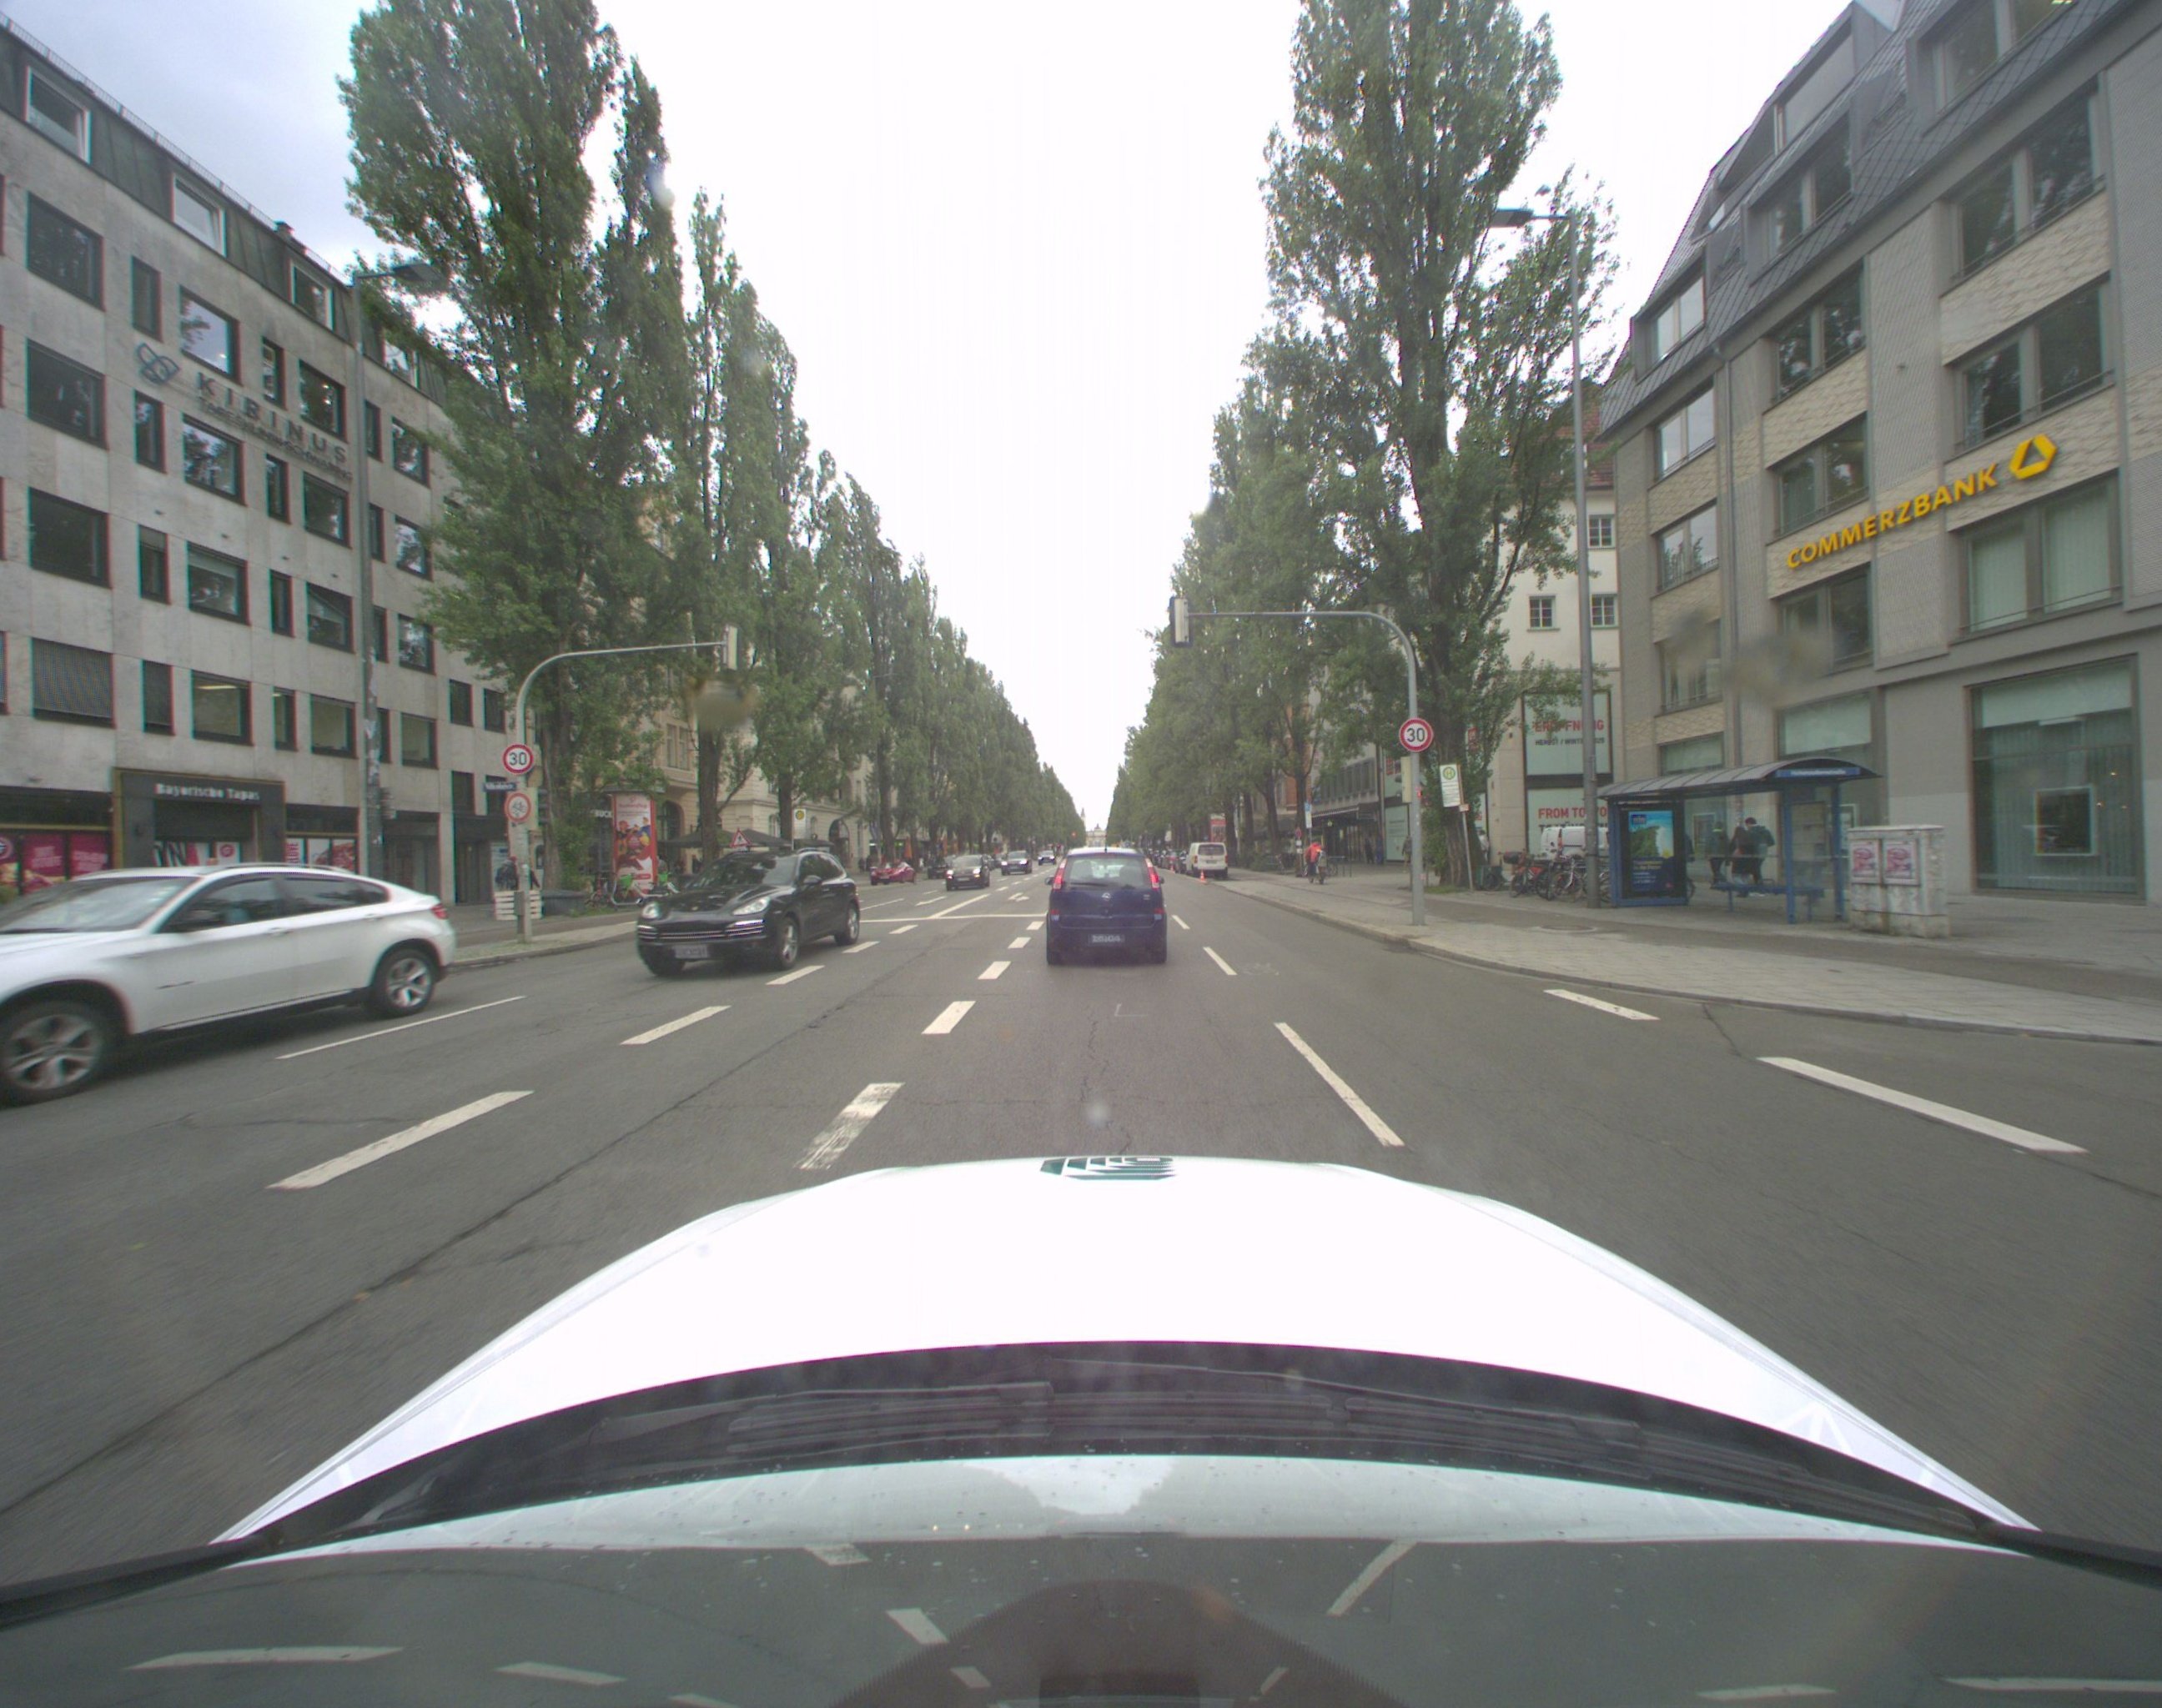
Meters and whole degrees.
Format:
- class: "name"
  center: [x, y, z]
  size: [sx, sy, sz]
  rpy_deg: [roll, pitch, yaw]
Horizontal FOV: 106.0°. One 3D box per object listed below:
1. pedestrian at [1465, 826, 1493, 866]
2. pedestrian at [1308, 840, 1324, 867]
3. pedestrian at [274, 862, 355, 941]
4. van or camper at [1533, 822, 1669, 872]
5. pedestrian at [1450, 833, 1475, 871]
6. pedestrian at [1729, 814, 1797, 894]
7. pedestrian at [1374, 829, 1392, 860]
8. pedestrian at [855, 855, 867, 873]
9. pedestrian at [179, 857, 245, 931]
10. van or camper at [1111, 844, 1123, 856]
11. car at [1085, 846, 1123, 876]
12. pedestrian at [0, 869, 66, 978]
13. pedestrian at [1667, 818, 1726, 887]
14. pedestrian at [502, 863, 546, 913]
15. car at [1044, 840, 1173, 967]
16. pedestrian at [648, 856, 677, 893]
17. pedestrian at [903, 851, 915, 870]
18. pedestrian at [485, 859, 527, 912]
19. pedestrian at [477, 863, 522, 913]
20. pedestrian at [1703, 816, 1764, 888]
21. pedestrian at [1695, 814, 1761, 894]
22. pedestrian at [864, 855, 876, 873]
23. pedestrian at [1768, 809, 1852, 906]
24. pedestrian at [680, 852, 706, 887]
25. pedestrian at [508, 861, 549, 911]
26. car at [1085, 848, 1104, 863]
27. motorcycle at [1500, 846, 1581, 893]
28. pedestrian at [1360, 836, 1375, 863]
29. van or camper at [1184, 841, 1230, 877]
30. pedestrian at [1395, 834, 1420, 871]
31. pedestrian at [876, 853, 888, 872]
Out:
- class: "pedestrian"
  center: [17.534, -0.359, 35.908]
  size: [0.747, 1.717, 0.963]
  rpy_deg: [-2, 0, 1]
- class: "pedestrian"
  center: [16.536, -0.036, 57.382]
  size: [0.823, 1.841, 1.100]
  rpy_deg: [-2, 0, 2]
- class: "pedestrian"
  center: [-16.377, 0.994, 17.426]
  size: [0.775, 1.618, 0.935]
  rpy_deg: [-2, 0, 1]
- class: "van or camper"
  center: [20.351, -0.267, 32.010]
  size: [4.085, 1.867, 1.900]
  rpy_deg: [0, 0, 4]
- class: "pedestrian"
  center: [16.760, -0.088, 35.816]
  size: [0.649, 1.662, 0.963]
  rpy_deg: [-1, 0, 1]
- class: "pedestrian"
  center: [15.459, 0.015, 18.487]
  size: [0.747, 1.758, 0.859]
  rpy_deg: [-2, -2, 2]
- class: "pedestrian"
  center: [18.148, -0.555, 48.924]
  size: [0.861, 1.829, 0.841]
  rpy_deg: [-1, 0, 28]
- class: "pedestrian"
  center: [-18.697, 0.856, 69.135]
  size: [0.766, 1.537, 0.805]
  rpy_deg: [-2, 0, 0]
- class: "pedestrian"
  center: [-21.544, 0.976, 20.197]
  size: [0.696, 1.787, 0.821]
  rpy_deg: [-1, 0, 2]
- class: "van or camper"
  center: [8.074, -0.981, 181.749]
  size: [2.468, 2.581, 5.846]
  rpy_deg: [-2, 0, 1]
- class: "car"
  center: [1.245, 0.361, 45.112]
  size: [1.987, 1.497, 4.000]
  rpy_deg: [-2, 0, 0]
- class: "pedestrian"
  center: [-17.646, 1.121, 13.389]
  size: [0.724, 1.740, 0.942]
  rpy_deg: [0, 0, 1]
- class: "pedestrian"
  center: [15.518, -0.032, 20.546]
  size: [0.747, 1.677, 0.963]
  rpy_deg: [-2, 0, 2]
- class: "pedestrian"
  center: [-17.938, 1.080, 26.256]
  size: [0.748, 1.567, 0.988]
  rpy_deg: [0, 0, -2]
- class: "car"
  center: [0.373, 0.633, 12.694]
  size: [1.675, 1.641, 4.000]
  rpy_deg: [-1, 0, 0]
- class: "pedestrian"
  center: [-19.991, 0.964, 38.911]
  size: [0.840, 1.744, 0.955]
  rpy_deg: [0, 0, 2]
- class: "pedestrian"
  center: [-16.483, 0.641, 77.984]
  size: [0.848, 1.744, 1.148]
  rpy_deg: [-2, 0, 1]
- class: "pedestrian"
  center: [-19.878, 1.070, 28.174]
  size: [0.797, 1.787, 0.912]
  rpy_deg: [0, 0, 1]
- class: "pedestrian"
  center: [-18.706, 1.084, 26.234]
  size: [0.748, 1.567, 0.988]
  rpy_deg: [0, 0, -2]
- class: "pedestrian"
  center: [16.227, -0.054, 20.272]
  size: [0.747, 1.717, 0.963]
  rpy_deg: [-1, 0, 2]
- class: "pedestrian"
  center: [14.700, 0.019, 18.540]
  size: [0.747, 1.758, 0.859]
  rpy_deg: [-2, -2, 2]
- class: "pedestrian"
  center: [-17.860, 0.848, 68.947]
  size: [0.766, 1.537, 0.805]
  rpy_deg: [-2, 0, 0]
- class: "pedestrian"
  center: [14.236, 0.064, 15.927]
  size: [0.815, 1.818, 0.890]
  rpy_deg: [-1, 0, -1]
- class: "pedestrian"
  center: [-19.847, 0.797, 41.682]
  size: [0.901, 1.744, 0.822]
  rpy_deg: [0, 0, 6]
- class: "pedestrian"
  center: [-19.070, 1.089, 28.149]
  size: [0.729, 1.681, 0.978]
  rpy_deg: [0, 0, 1]
- class: "car"
  center: [1.509, 0.159, 90.169]
  size: [1.987, 1.497, 4.000]
  rpy_deg: [-2, 0, 0]
- class: "motorcycle"
  center: [11.655, 0.387, 20.680]
  size: [1.718, 1.139, 0.510]
  rpy_deg: [-2, 0, 2]
- class: "pedestrian"
  center: [17.547, -0.275, 49.966]
  size: [0.666, 1.609, 0.773]
  rpy_deg: [-3, 1, 8]
- class: "van or camper"
  center: [6.916, 0.243, 45.192]
  size: [1.862, 1.883, 4.904]
  rpy_deg: [-1, 0, 1]
- class: "pedestrian"
  center: [15.313, -0.071, 38.171]
  size: [0.815, 1.673, 0.993]
  rpy_deg: [-1, 0, 38]
- class: "pedestrian"
  center: [-17.367, 0.750, 71.202]
  size: [0.731, 1.673, 0.953]
  rpy_deg: [-2, 0, 1]
